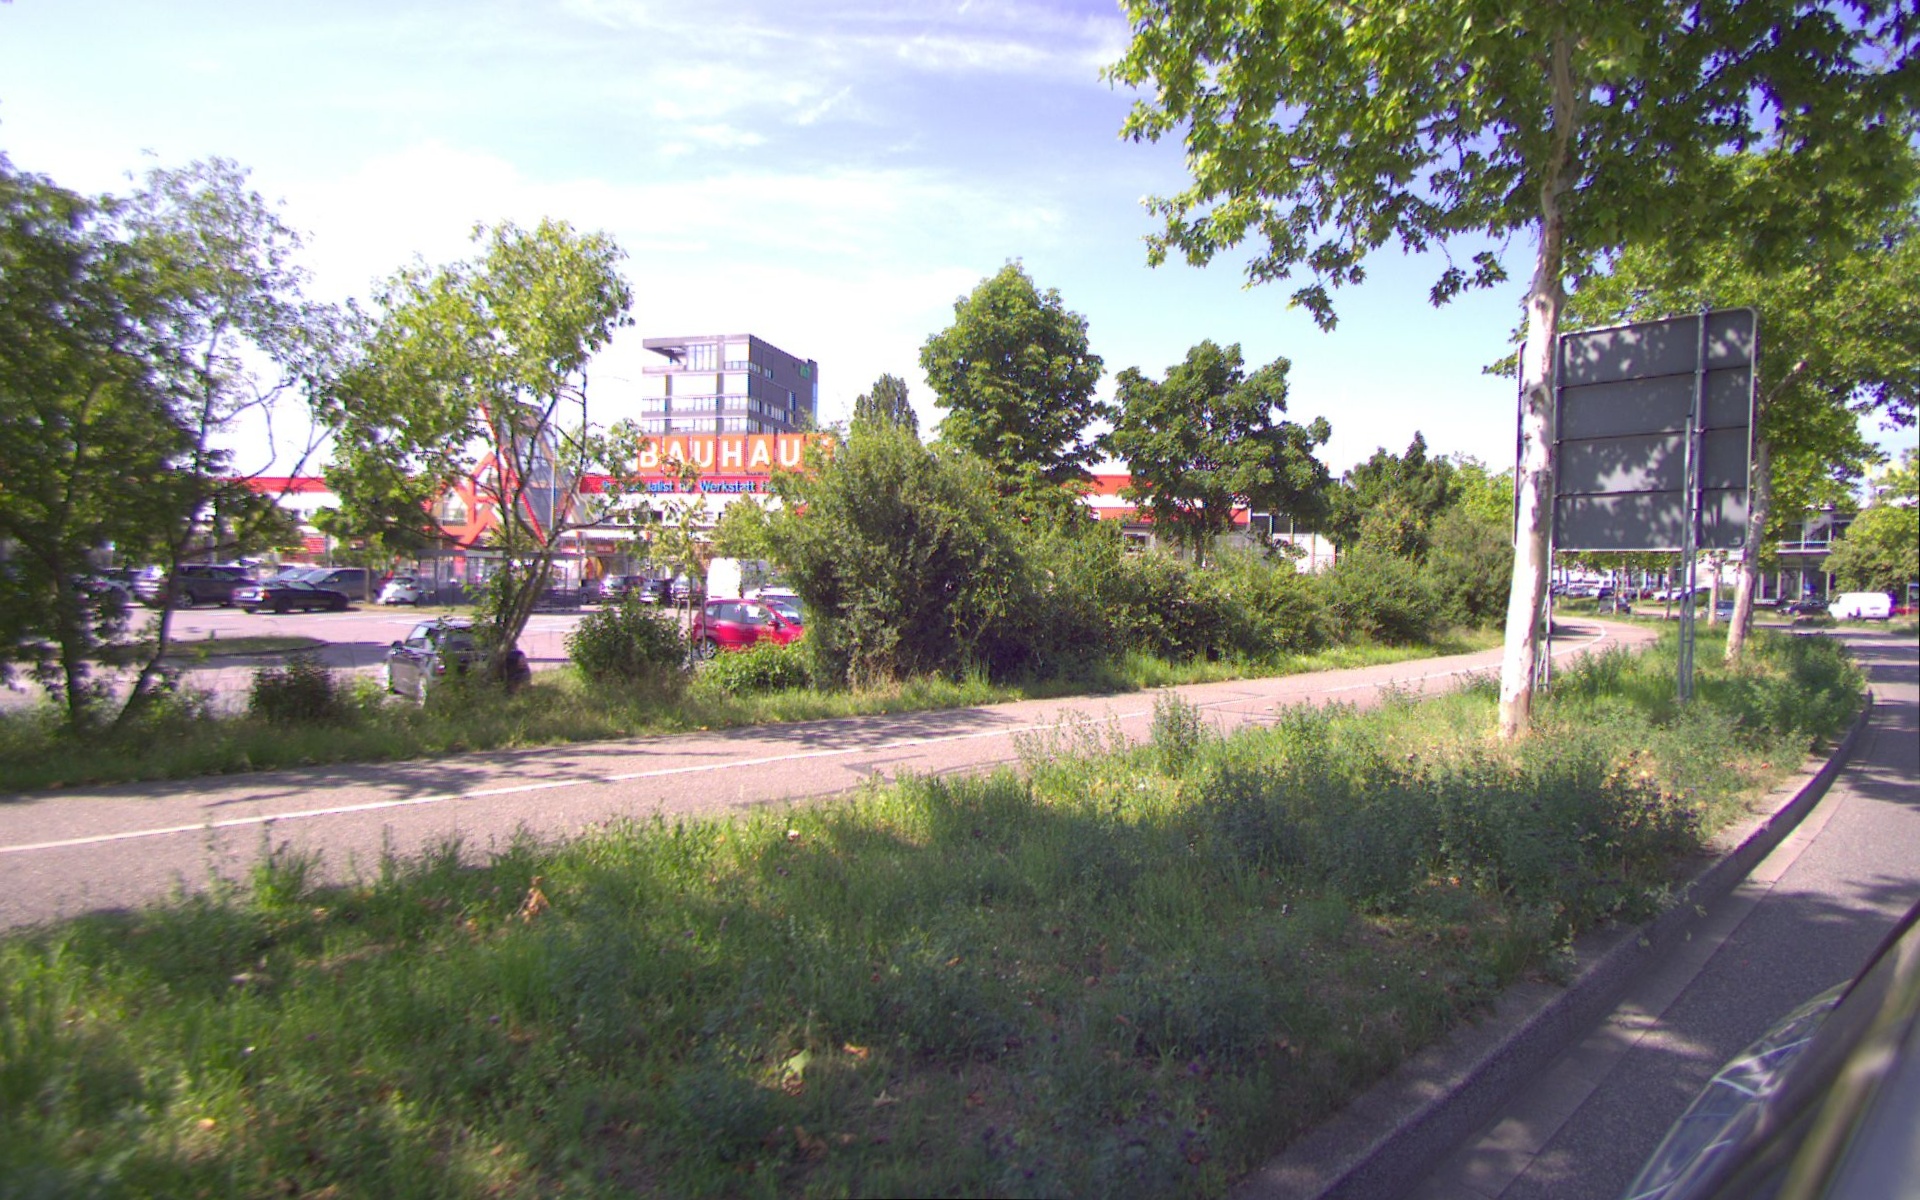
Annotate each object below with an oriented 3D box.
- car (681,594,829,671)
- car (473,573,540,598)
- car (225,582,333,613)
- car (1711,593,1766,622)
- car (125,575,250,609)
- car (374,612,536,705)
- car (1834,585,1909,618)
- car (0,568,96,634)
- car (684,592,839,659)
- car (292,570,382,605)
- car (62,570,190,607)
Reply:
[{"bbox_3d":[-5.101,0.766,25.315,3.233,1.682,1.597,3,1,17],"label":"car"},{"bbox_3d":[-25.399,-0.805,56.789,1.546,1.396,3.604,0,1,13],"label":"car"},{"bbox_3d":[-25.239,-0.097,37.606,1.496,1.073,3.174,-1,0,14],"label":"car"},{"bbox_3d":[44.743,0.384,58.217,1.808,1.540,4.167,1,1,28],"label":"car"},{"bbox_3d":[-29.808,-0.291,39.169,1.584,1.239,3.567,-1,0,22],"label":"car"},{"bbox_3d":[-8.779,0.917,17.455,1.711,1.238,3.588,-1,2,-40],"label":"car"},{"bbox_3d":[58.850,0.077,65.422,1.974,2.039,4.489,0,0,19],"label":"car"},{"bbox_3d":[-25.198,0.014,25.800,1.607,1.648,4.734,3,1,16],"label":"car"},{"bbox_3d":[-4.937,0.613,25.305,3.438,1.545,1.594,-1,1,15],"label":"car"},{"bbox_3d":[-27.925,-0.565,45.451,1.584,1.500,3.164,-1,0,22],"label":"car"},{"bbox_3d":[-32.444,-0.447,39.470,1.584,1.341,3.567,-1,0,22],"label":"car"}]
